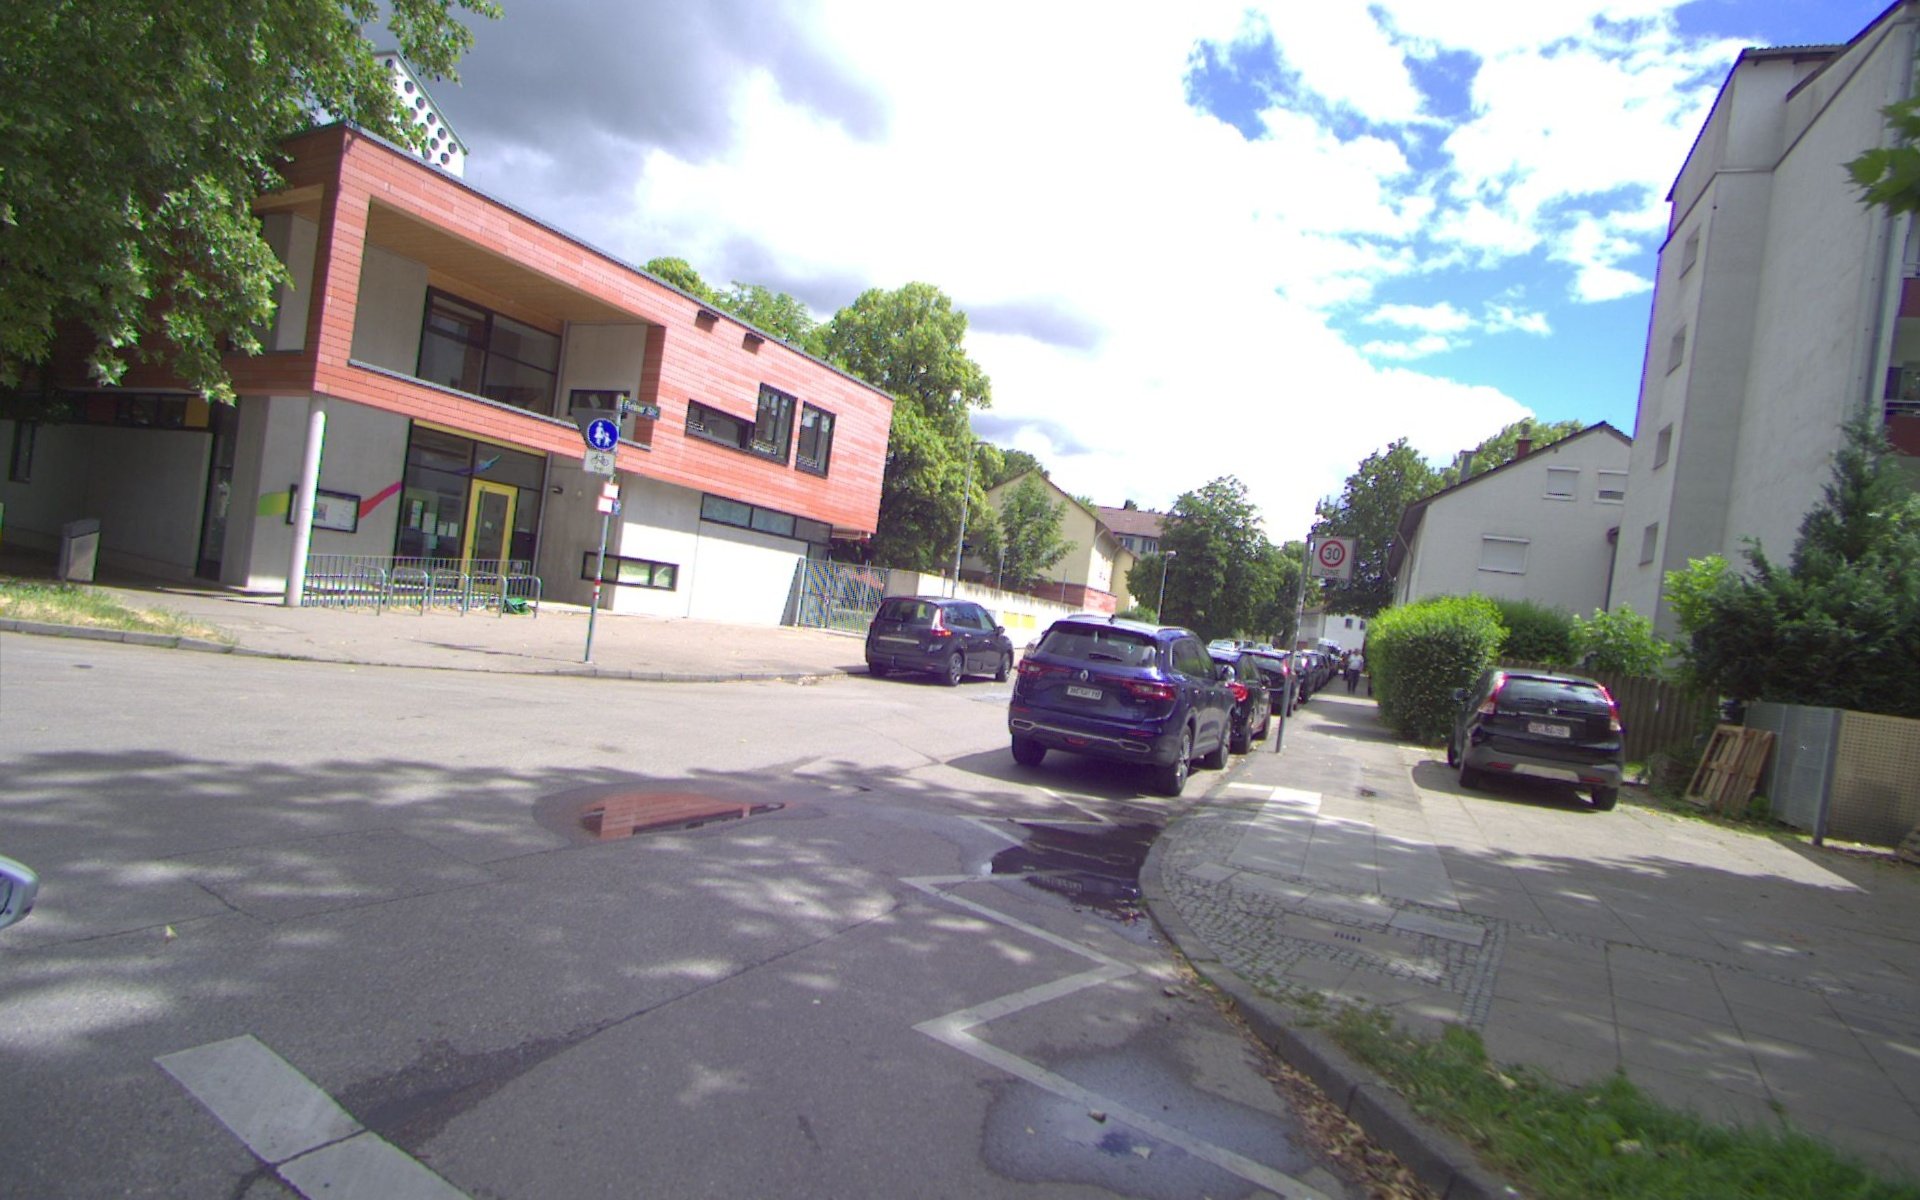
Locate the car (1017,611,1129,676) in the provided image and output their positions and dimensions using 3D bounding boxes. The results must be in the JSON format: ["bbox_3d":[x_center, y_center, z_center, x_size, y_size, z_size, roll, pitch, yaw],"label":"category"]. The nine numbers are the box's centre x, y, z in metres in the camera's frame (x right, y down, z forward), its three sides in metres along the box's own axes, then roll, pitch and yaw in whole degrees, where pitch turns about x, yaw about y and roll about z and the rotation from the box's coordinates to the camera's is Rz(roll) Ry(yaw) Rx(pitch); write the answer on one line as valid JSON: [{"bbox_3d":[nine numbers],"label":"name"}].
[{"bbox_3d":[3.290,1.274,28.534,1.859,1.474,4.242,8,0,24],"label":"car"}]

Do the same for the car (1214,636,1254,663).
[{"bbox_3d":[18.386,3.332,67.349,1.859,1.474,3.907,8,0,24],"label":"car"}]

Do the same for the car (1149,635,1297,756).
[{"bbox_3d":[4.309,1.433,16.054,1.498,1.461,3.997,9,1,24],"label":"car"}]

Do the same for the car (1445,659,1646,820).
[{"bbox_3d":[7.988,1.784,14.116,1.778,1.675,4.103,7,0,24],"label":"car"}]

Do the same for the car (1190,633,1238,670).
[{"bbox_3d":[14.555,2.959,57.510,1.963,1.771,3.999,8,0,21],"label":"car"}]

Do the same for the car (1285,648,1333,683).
[{"bbox_3d":[17.847,3.323,51.367,1.923,1.425,4.061,8,0,23],"label":"car"}]

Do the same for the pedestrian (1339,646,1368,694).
[{"bbox_3d":[15.530,2.778,39.706,0.824,1.775,0.953,7,-1,23],"label":"pedestrian"}]

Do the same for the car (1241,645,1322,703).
[{"bbox_3d":[10.177,2.307,31.628,1.923,1.425,4.061,8,0,23],"label":"car"}]

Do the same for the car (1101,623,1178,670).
[{"bbox_3d":[7.010,1.842,38.993,1.859,1.474,4.242,8,0,24],"label":"car"}]

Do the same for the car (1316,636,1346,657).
[{"bbox_3d":[29.574,3.708,80.180,1.923,1.426,4.060,7,0,23],"label":"car"}]

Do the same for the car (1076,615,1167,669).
[{"bbox_3d":[5.500,1.450,33.811,1.859,1.474,4.242,8,0,24],"label":"car"}]

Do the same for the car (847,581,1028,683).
[{"bbox_3d":[-0.319,0.691,20.223,1.859,1.624,4.242,8,0,24],"label":"car"}]

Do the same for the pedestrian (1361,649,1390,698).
[{"bbox_3d":[16.212,2.861,39.265,0.824,1.775,0.953,7,-1,23],"label":"pedestrian"}]

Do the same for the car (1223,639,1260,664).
[{"bbox_3d":[19.931,3.662,71.129,1.859,1.474,3.907,8,0,24],"label":"car"}]

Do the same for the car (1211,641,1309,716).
[{"bbox_3d":[7.576,1.919,25.139,1.841,1.472,4.122,8,0,22],"label":"car"}]

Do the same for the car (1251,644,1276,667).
[{"bbox_3d":[29.010,5.299,96.023,1.963,1.842,4.000,8,0,19],"label":"car"}]

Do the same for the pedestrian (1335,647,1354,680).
[{"bbox_3d":[22.485,3.728,58.827,0.824,1.775,0.953,7,-1,23],"label":"pedestrian"}]

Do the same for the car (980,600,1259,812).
[{"bbox_3d":[2.033,1.072,11.520,1.976,1.703,4.189,8,1,24],"label":"car"}]
